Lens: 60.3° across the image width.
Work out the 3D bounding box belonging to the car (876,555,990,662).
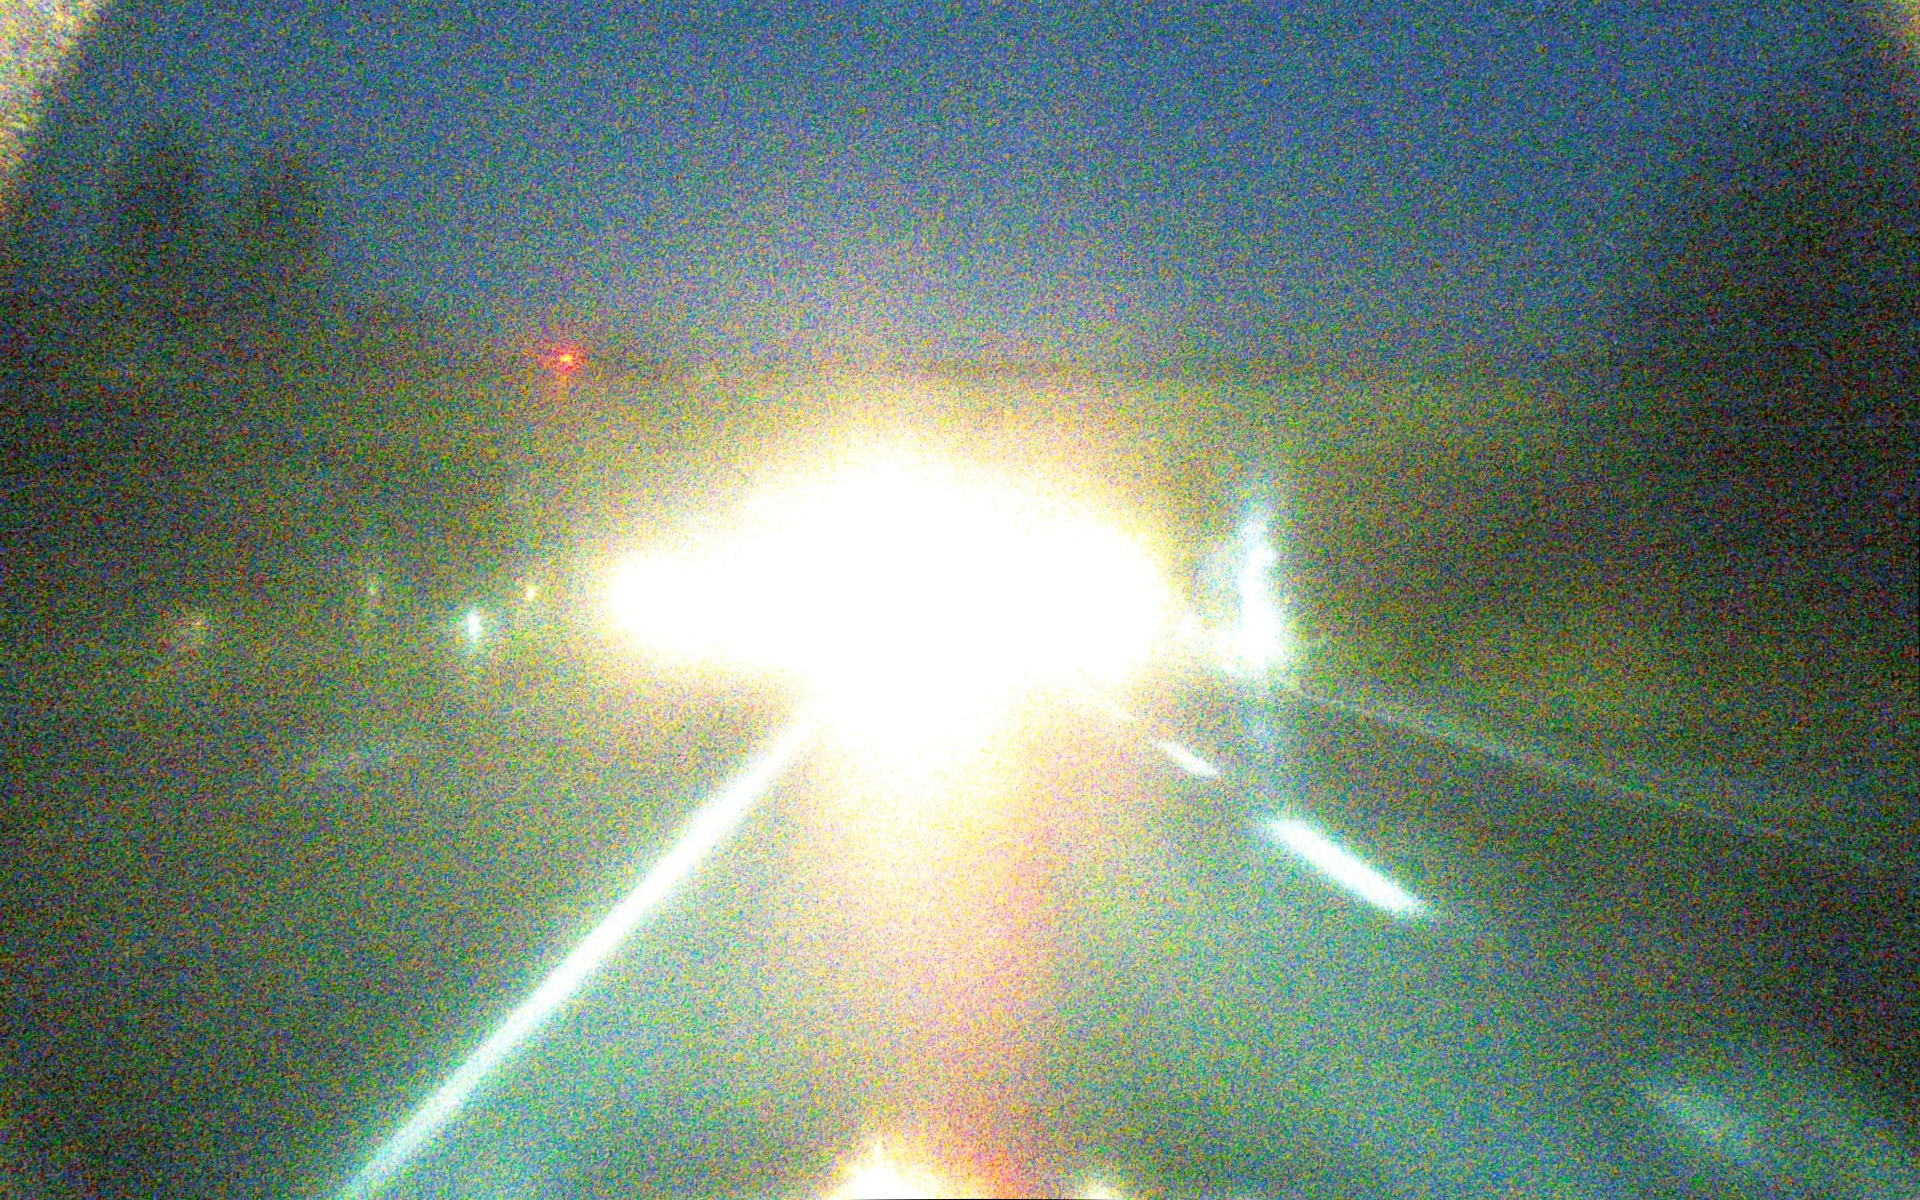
[{"bbox_3d":[-0.512,0.135,27.908,1.772,1.650,3.998,1,0,-3],"label":"car"}]
